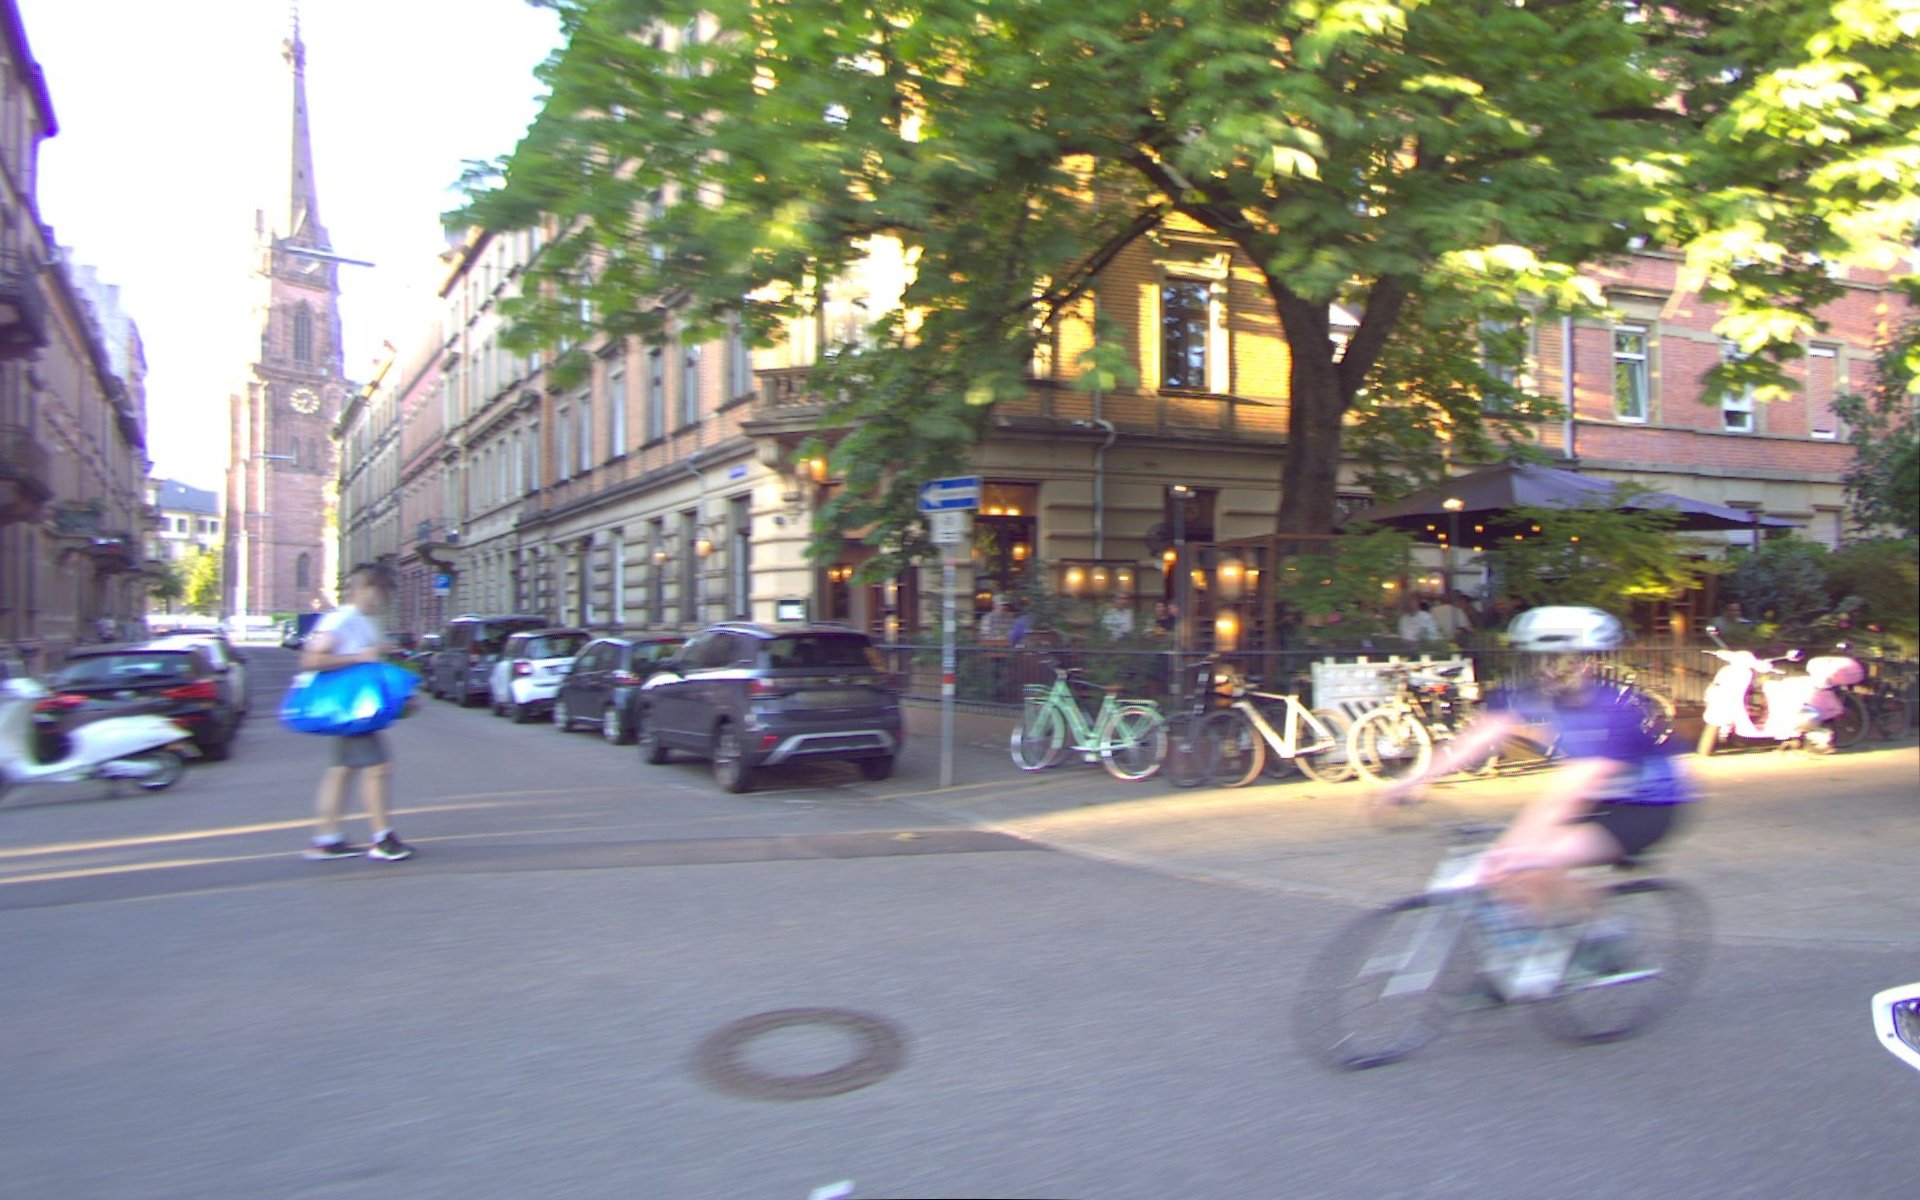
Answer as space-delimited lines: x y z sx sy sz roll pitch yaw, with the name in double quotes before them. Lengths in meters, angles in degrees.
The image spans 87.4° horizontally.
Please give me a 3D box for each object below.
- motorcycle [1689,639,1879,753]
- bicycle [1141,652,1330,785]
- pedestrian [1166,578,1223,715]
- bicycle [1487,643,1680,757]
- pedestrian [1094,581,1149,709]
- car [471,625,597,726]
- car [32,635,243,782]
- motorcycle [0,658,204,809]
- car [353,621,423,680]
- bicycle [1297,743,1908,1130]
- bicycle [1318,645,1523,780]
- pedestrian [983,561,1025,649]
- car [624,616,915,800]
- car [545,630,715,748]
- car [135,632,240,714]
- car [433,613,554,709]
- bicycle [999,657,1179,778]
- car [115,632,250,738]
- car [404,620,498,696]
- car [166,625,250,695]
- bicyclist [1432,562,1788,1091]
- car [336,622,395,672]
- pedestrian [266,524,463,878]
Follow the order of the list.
"motorcycle" 9.033 1.034 11.019 1.920 1.201 0.392 0 1 -7
"bicycle" 2.577 1.082 9.410 1.716 1.159 0.391 0 -2 -13
"pedestrian" 2.601 0.507 11.140 0.423 1.470 0.461 -2 -1 42
"bicycle" 6.665 1.054 10.748 1.920 1.159 0.392 0 1 -7
"pedestrian" 1.914 0.524 11.891 0.423 1.470 0.461 -2 -1 42
"car" -7.783 1.294 18.212 1.452 1.615 3.302 -1 -1 -35
"car" -10.093 1.213 12.573 1.770 1.478 3.978 -1 -2 -36
"motorcycle" -8.147 1.211 9.243 1.832 1.273 0.470 -1 -1 -19
"car" -19.516 1.686 34.198 1.672 1.847 3.453 -1 -1 -36
"bicycle" 2.122 1.034 3.356 1.873 1.047 0.538 2 -2 -12
"bicycle" 4.397 1.044 9.588 1.923 1.202 0.391 0 2 -13
"pedestrian" 0.735 0.086 16.707 0.458 1.431 0.520 -1 -1 -31
"car" -2.194 1.000 10.729 1.617 1.566 3.820 -1 -2 -35
"car" -4.966 1.212 14.881 1.453 1.478 3.300 -1 0 -36
"car" -15.972 1.442 20.904 1.564 1.478 4.380 -1 -2 -36
"car" -9.969 1.248 21.364 1.672 1.847 3.453 -1 -1 -36
"bicycle" 1.266 1.139 10.095 1.799 1.113 0.391 -2 -1 36
"car" -12.775 1.311 16.659 1.564 1.478 4.380 -1 -2 -36
"car" -13.540 1.494 26.611 1.672 1.847 3.453 -1 -1 -36
"car" -18.992 1.466 25.444 1.564 1.593 4.078 -1 -2 -36
"bicyclist" 2.115 0.698 3.342 0.807 1.598 0.510 -1 -1 -1
"car" -23.432 1.841 39.540 1.672 1.847 3.453 -1 -1 -36
"pedestrian" -3.831 0.603 6.458 1.000 2.040 0.860 1 -2 -37
